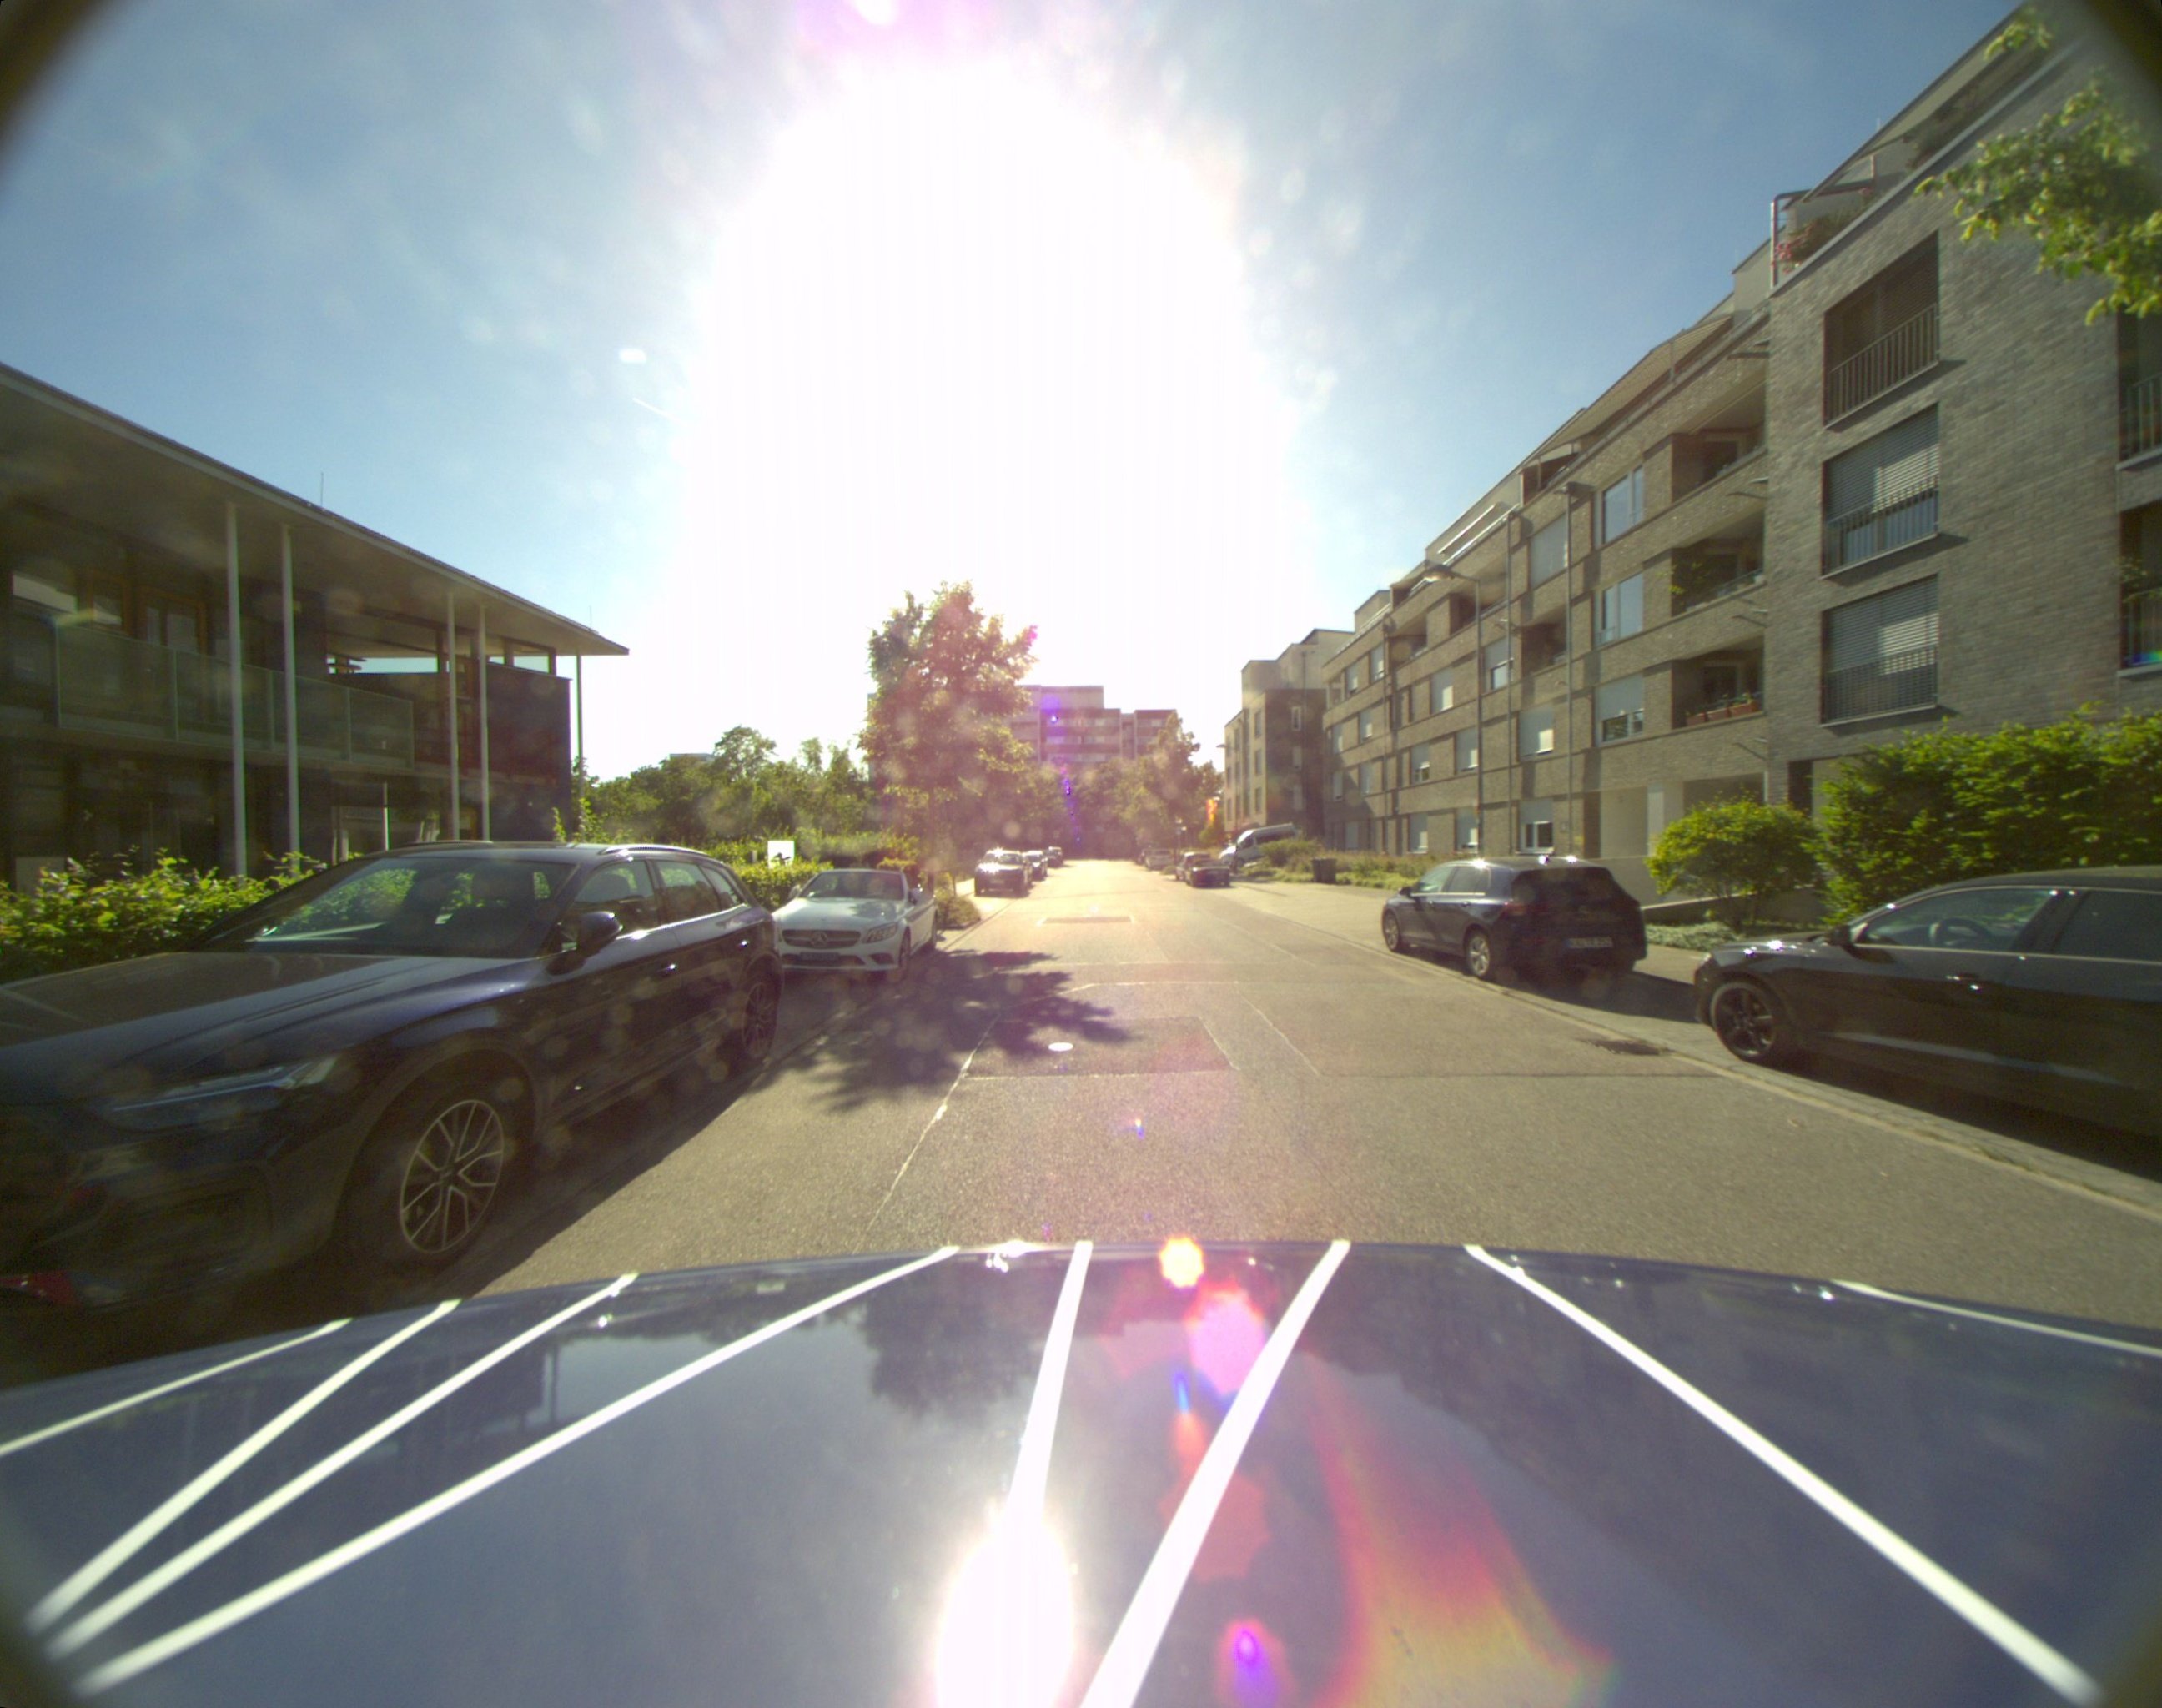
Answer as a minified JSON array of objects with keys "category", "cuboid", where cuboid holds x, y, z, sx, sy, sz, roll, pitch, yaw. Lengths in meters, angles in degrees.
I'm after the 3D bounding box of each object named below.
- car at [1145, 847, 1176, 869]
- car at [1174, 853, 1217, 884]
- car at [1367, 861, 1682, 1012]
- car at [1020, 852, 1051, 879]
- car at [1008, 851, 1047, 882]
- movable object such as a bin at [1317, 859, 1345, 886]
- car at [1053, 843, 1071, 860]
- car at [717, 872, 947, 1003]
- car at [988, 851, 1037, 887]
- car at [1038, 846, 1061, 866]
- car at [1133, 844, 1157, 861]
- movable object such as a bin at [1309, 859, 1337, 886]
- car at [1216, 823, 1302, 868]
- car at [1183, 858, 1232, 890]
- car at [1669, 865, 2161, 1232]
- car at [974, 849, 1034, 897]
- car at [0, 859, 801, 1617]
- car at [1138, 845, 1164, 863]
[{"category":"car","cuboid":[6.161,0.303,59.217,1.795,1.590,3.888,-2,1,-2]},{"category":"car","cuboid":[5.869,0.710,39.247,1.631,1.515,3.562,0,1,0]},{"category":"car","cuboid":[5.564,0.913,10.258,1.845,1.465,4.099,-3,1,0]},{"category":"car","cuboid":[-2.817,0.697,47.810,1.645,1.459,3.702,3,2,0]},{"category":"car","cuboid":[-2.883,0.633,41.722,1.823,1.459,3.841,3,2,0]},{"category":"movable object such as a bin","cuboid":[10.268,0.763,31.205,0.862,1.032,0.677,-4,1,-2]},{"category":"car","cuboid":[-1.872,-0.255,75.586,1.645,1.459,3.702,3,2,0]},{"category":"car","cuboid":[-3.287,1.025,11.153,1.968,1.312,4.774,2,1,-3]},{"category":"car","cuboid":[-3.111,0.666,34.952,1.823,1.458,3.841,3,1,0]},{"category":"car","cuboid":[-2.610,0.151,63.512,1.645,1.459,3.702,3,2,0]},{"category":"car","cuboid":[6.158,-0.148,73.176,1.795,1.509,3.888,-2,1,-2]},{"category":"movable object such as a bin","cuboid":[10.167,0.772,31.955,0.921,1.032,0.681,-4,1,-2]},{"category":"car","cuboid":[11.705,-0.571,50.057,5.153,2.886,2.013,-1,1,-3]},{"category":"car","cuboid":[5.609,0.871,33.945,1.631,1.240,3.562,-3,1,1]},{"category":"car","cuboid":[5.660,0.883,4.098,1.845,1.465,4.027,-3,1,0]},{"category":"car","cuboid":[-2.923,0.671,29.782,1.823,1.638,4.488,3,1,0]},{"category":"car","cuboid":[-3.288,0.921,3.993,1.905,1.673,4.410,1,1,1]},{"category":"car","cuboid":[6.207,0.001,68.001,1.795,1.509,3.888,-2,1,-2]}]
